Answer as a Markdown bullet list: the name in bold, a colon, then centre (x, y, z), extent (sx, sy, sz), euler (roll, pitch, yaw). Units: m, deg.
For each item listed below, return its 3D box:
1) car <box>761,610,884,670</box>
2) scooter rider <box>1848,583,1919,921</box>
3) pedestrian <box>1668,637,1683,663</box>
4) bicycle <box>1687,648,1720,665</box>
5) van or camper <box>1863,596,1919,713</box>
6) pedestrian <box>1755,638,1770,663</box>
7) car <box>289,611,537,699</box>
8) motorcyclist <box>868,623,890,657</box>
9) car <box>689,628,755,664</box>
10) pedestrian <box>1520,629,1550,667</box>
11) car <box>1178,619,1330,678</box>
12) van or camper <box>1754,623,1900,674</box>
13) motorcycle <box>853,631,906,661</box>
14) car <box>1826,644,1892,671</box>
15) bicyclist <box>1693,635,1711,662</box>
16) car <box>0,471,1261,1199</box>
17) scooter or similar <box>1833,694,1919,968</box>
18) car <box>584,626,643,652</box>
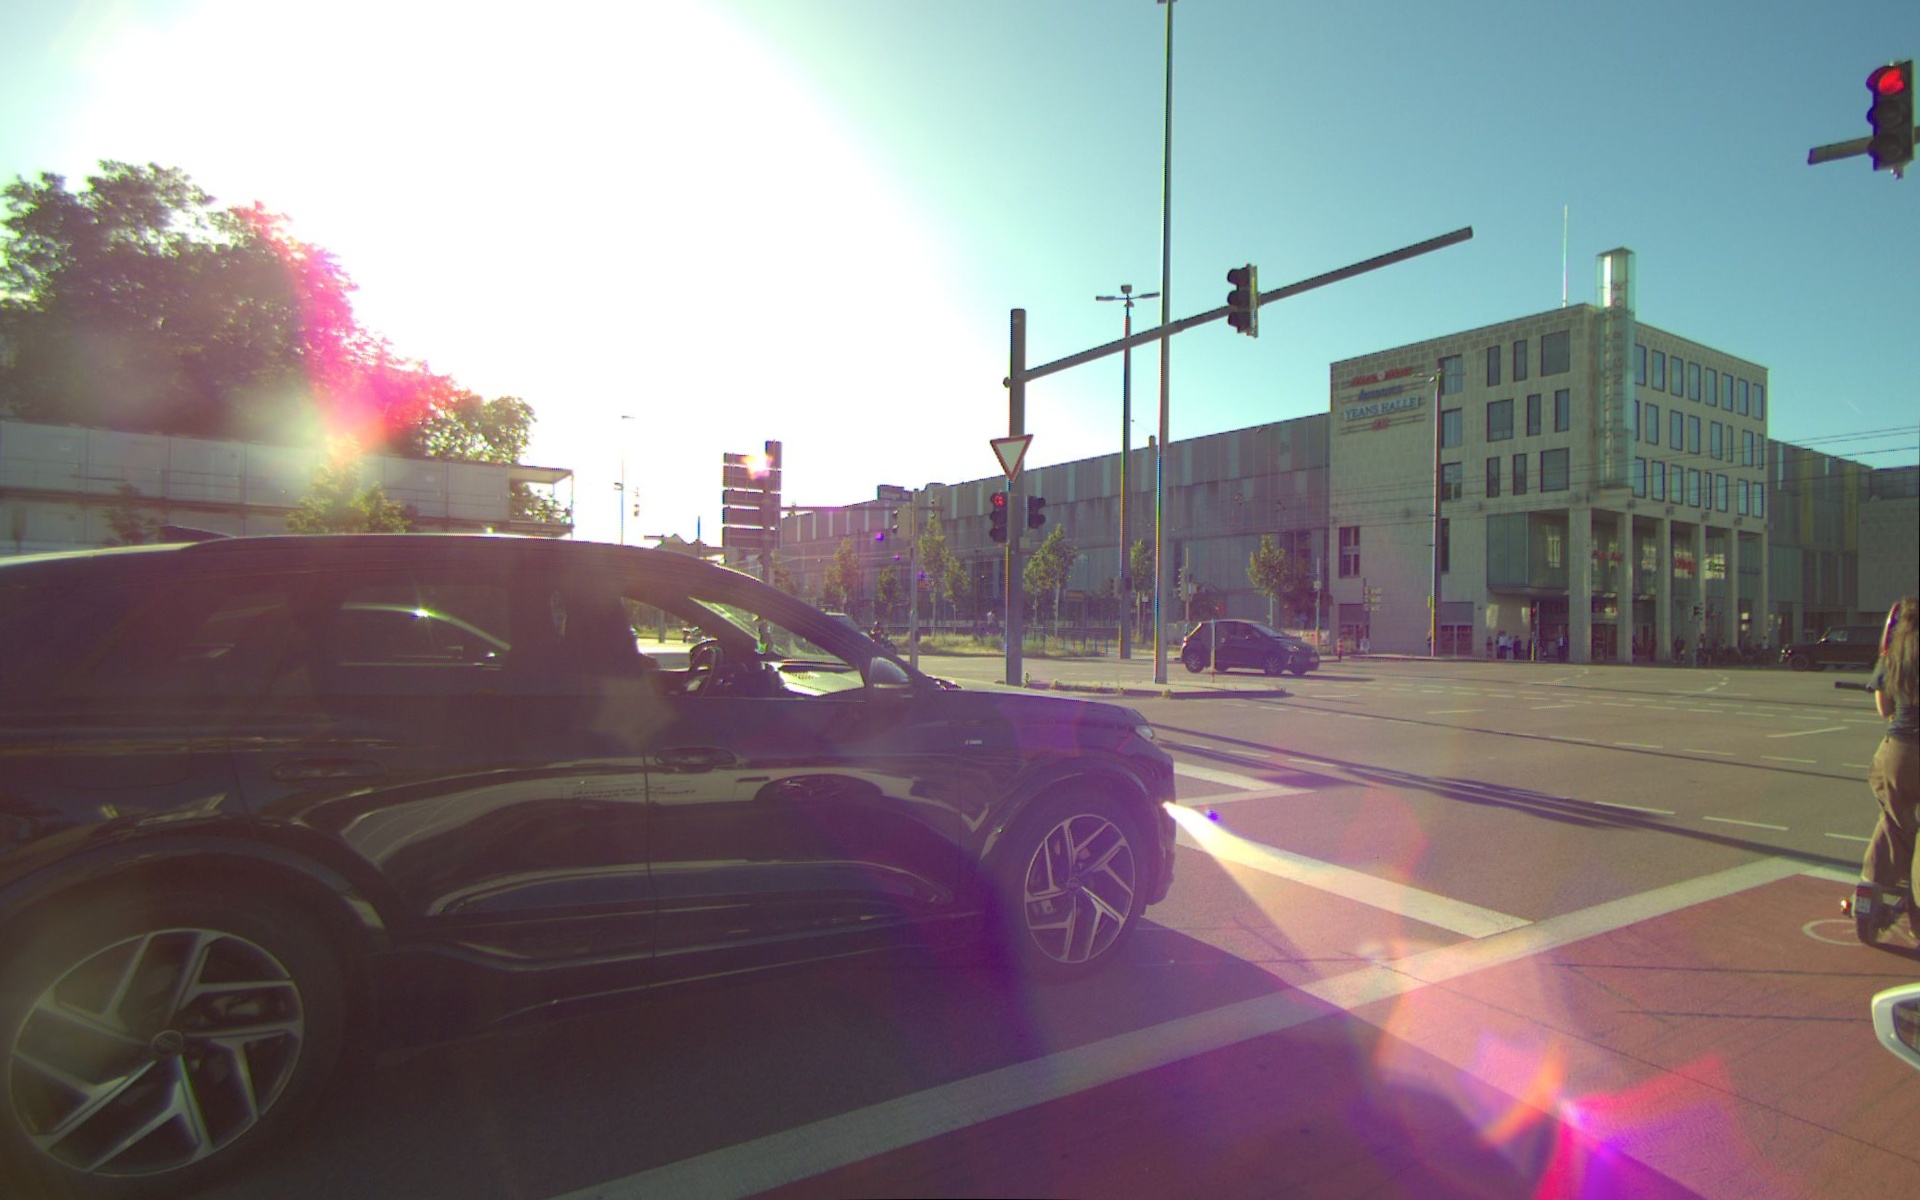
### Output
- **car**: centre (-4.848, 1.333, 34.880), extent (1.873, 1.947, 4.872), euler (2, -2, -41)
- **scooter rider**: centre (4.603, 0.701, 4.738), extent (0.445, 1.550, 0.548), euler (1, -1, -38)
- **pedestrian**: centre (45.384, 3.159, 63.699), extent (0.622, 1.667, 0.589), euler (1, -1, -30)
- **bicycle**: centre (41.565, 3.124, 56.123), extent (2.191, 0.915, 0.633), euler (1, -1, -29)
- **van or camper**: centre (18.584, 0.951, 16.992), extent (1.992, 2.040, 4.783), euler (2, -2, -42)
- **pedestrian**: centre (57.795, 3.609, 72.352), extent (0.681, 1.752, 0.472), euler (2, 0, 9)
- **car**: centre (-10.271, 1.002, 19.061), extent (3.934, 1.500, 1.868), euler (1, -1, -30)
- **motorcyclist**: centre (-3.415, 1.678, 42.294), extent (0.650, 1.442, 0.644), euler (-1, 0, 44)
- **car**: centre (-10.007, 1.888, 42.015), extent (1.708, 1.395, 3.913), euler (1, -1, -29)
- **pedestrian**: centre (26.168, 2.192, 45.708), extent (0.994, 1.697, 0.818), euler (1, -1, -33)
- **car**: centre (8.245, 1.326, 28.333), extent (1.660, 1.530, 3.824), euler (2, -2, -44)
- **van or camper**: centre (37.078, 2.013, 43.069), extent (1.974, 2.040, 4.388), euler (1, -1, -34)
- **motorcycle**: centre (-3.405, 1.919, 42.265), extent (2.567, 1.224, 0.725), euler (-1, -1, 44)
- **car**: centre (49.654, 3.150, 55.462), extent (3.975, 1.375, 1.668), euler (1, -1, -31)
- **bicyclist**: centre (41.357, 2.684, 56.019), extent (0.581, 1.467, 0.623), euler (1, -1, -28)
- **car**: centre (-1.208, 0.609, 4.085), extent (4.613, 1.729, 2.153), euler (1, 0, -32)
- **scooter or similar**: centre (4.339, 1.024, 4.679), extent (0.832, 1.122, 0.303), euler (2, -1, -42)
- **car**: centre (-23.425, 2.602, 67.748), extent (1.985, 1.585, 5.037), euler (2, -2, -42)
